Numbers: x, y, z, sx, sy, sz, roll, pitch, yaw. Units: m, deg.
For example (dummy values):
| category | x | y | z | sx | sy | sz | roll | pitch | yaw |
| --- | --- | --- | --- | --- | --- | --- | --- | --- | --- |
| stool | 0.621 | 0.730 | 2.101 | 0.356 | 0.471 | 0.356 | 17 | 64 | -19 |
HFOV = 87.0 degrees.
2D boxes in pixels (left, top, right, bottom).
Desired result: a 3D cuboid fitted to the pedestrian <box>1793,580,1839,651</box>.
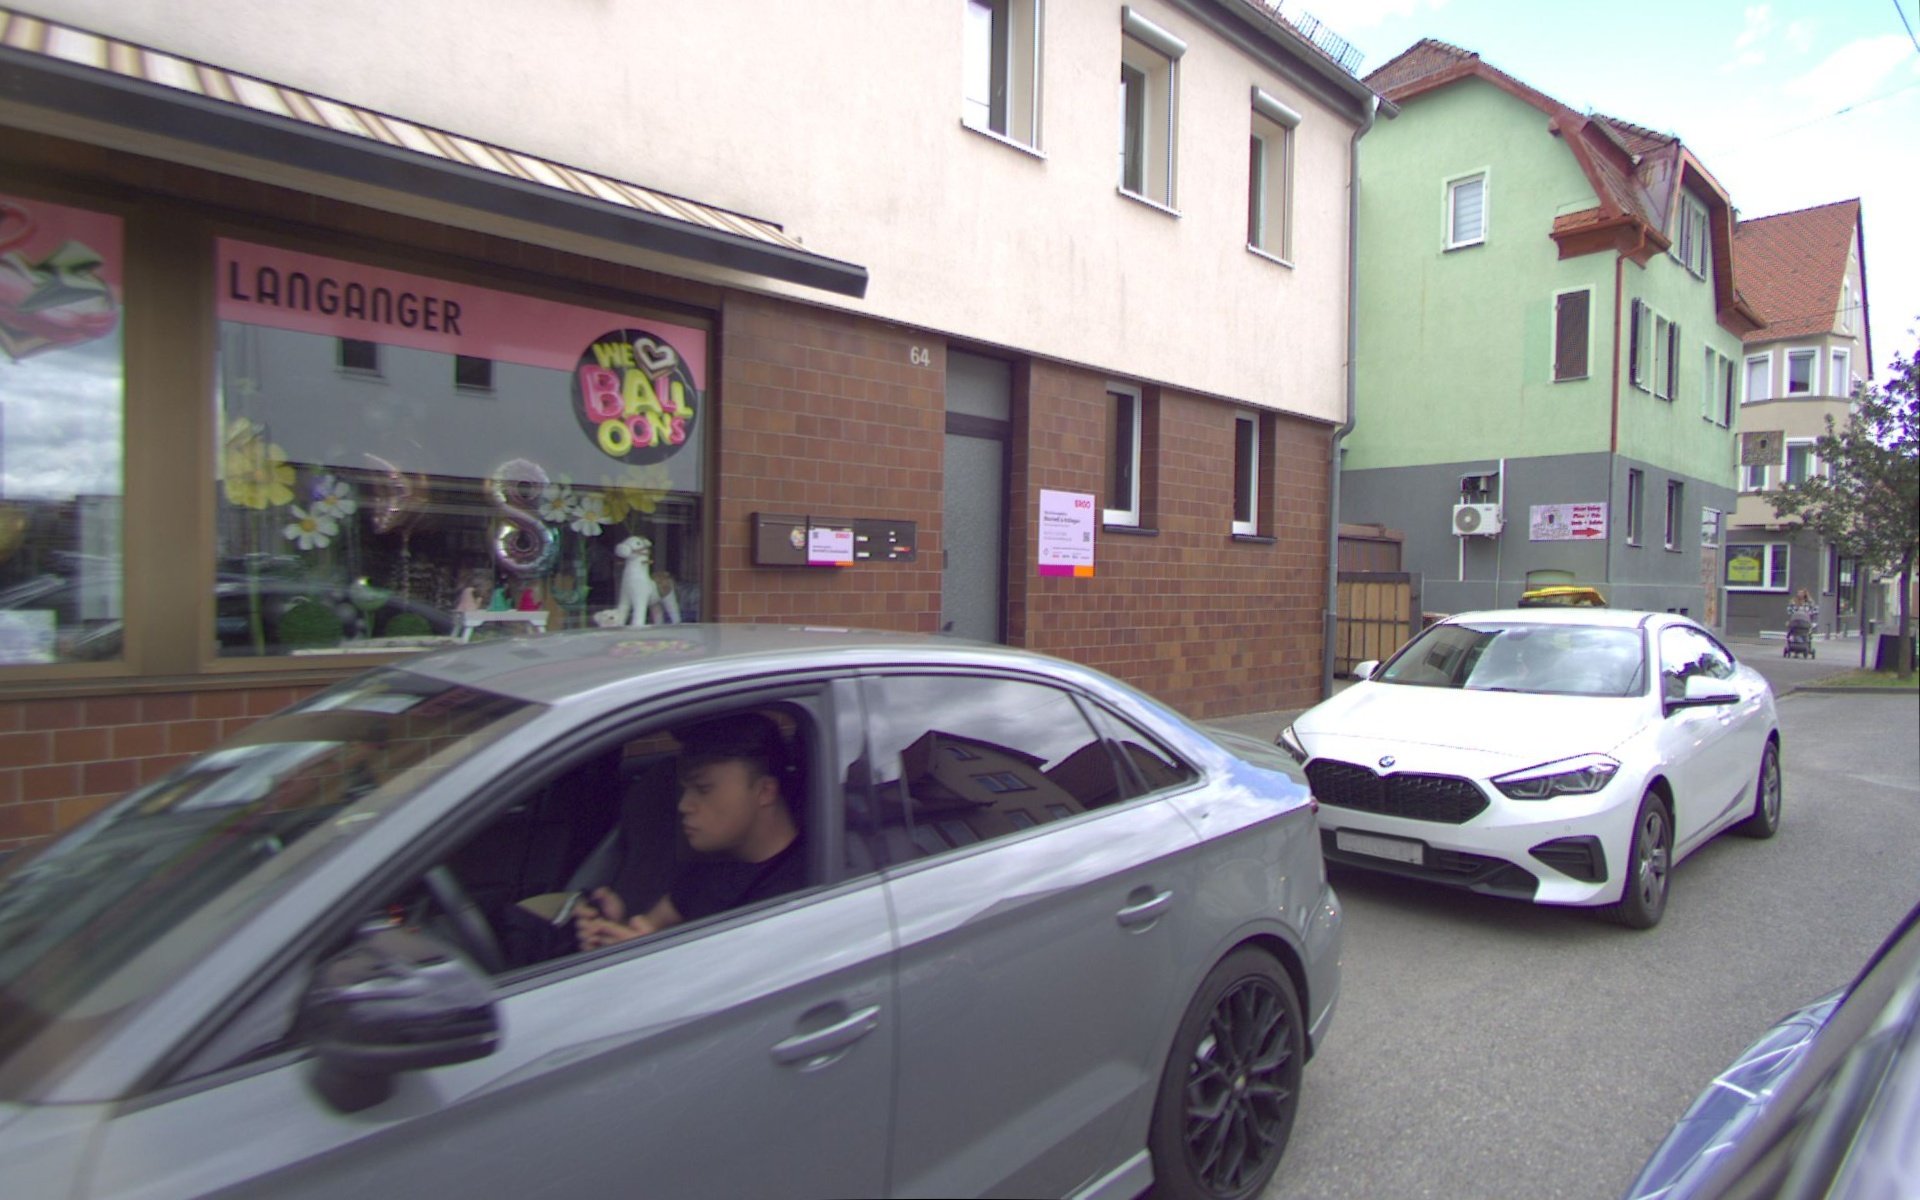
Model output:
| category | x | y | z | sx | sy | sz | roll | pitch | yaw |
| --- | --- | --- | --- | --- | --- | --- | --- | --- | --- |
| pedestrian | 21.458 | 0.379 | 25.365 | 0.884 | 1.741 | 0.751 | 0 | 0 | -41 |

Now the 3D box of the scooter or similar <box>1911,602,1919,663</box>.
| category | x | y | z | sx | sy | sz | roll | pitch | yaw |
| --- | --- | --- | --- | --- | --- | --- | --- | --- | --- |
| scooter or similar | 20.622 | 0.676 | 21.462 | 1.909 | 1.251 | 0.502 | 0 | 1 | -42 |

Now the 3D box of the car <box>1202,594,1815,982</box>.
| category | x | y | z | sx | sy | sz | roll | pitch | yaw |
| --- | --- | --- | --- | --- | --- | --- | --- | --- | --- |
| car | 3.449 | 0.705 | 5.970 | 4.256 | 1.464 | 1.834 | 0 | 1 | -41 |

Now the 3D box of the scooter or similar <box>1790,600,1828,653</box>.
| category | x | y | z | sx | sy | sz | roll | pitch | yaw |
| --- | --- | --- | --- | --- | --- | --- | --- | --- | --- |
| scooter or similar | 20.780 | 0.632 | 24.770 | 0.876 | 1.248 | 0.590 | 0 | 1 | -42 |

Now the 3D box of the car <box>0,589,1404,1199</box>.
| category | x | y | z | sx | sy | sz | roll | pitch | yaw |
| --- | --- | --- | --- | --- | --- | --- | --- | --- | --- |
| car | -0.814 | 0.710 | 2.212 | 4.040 | 1.464 | 1.833 | 0 | 1 | -43 |
